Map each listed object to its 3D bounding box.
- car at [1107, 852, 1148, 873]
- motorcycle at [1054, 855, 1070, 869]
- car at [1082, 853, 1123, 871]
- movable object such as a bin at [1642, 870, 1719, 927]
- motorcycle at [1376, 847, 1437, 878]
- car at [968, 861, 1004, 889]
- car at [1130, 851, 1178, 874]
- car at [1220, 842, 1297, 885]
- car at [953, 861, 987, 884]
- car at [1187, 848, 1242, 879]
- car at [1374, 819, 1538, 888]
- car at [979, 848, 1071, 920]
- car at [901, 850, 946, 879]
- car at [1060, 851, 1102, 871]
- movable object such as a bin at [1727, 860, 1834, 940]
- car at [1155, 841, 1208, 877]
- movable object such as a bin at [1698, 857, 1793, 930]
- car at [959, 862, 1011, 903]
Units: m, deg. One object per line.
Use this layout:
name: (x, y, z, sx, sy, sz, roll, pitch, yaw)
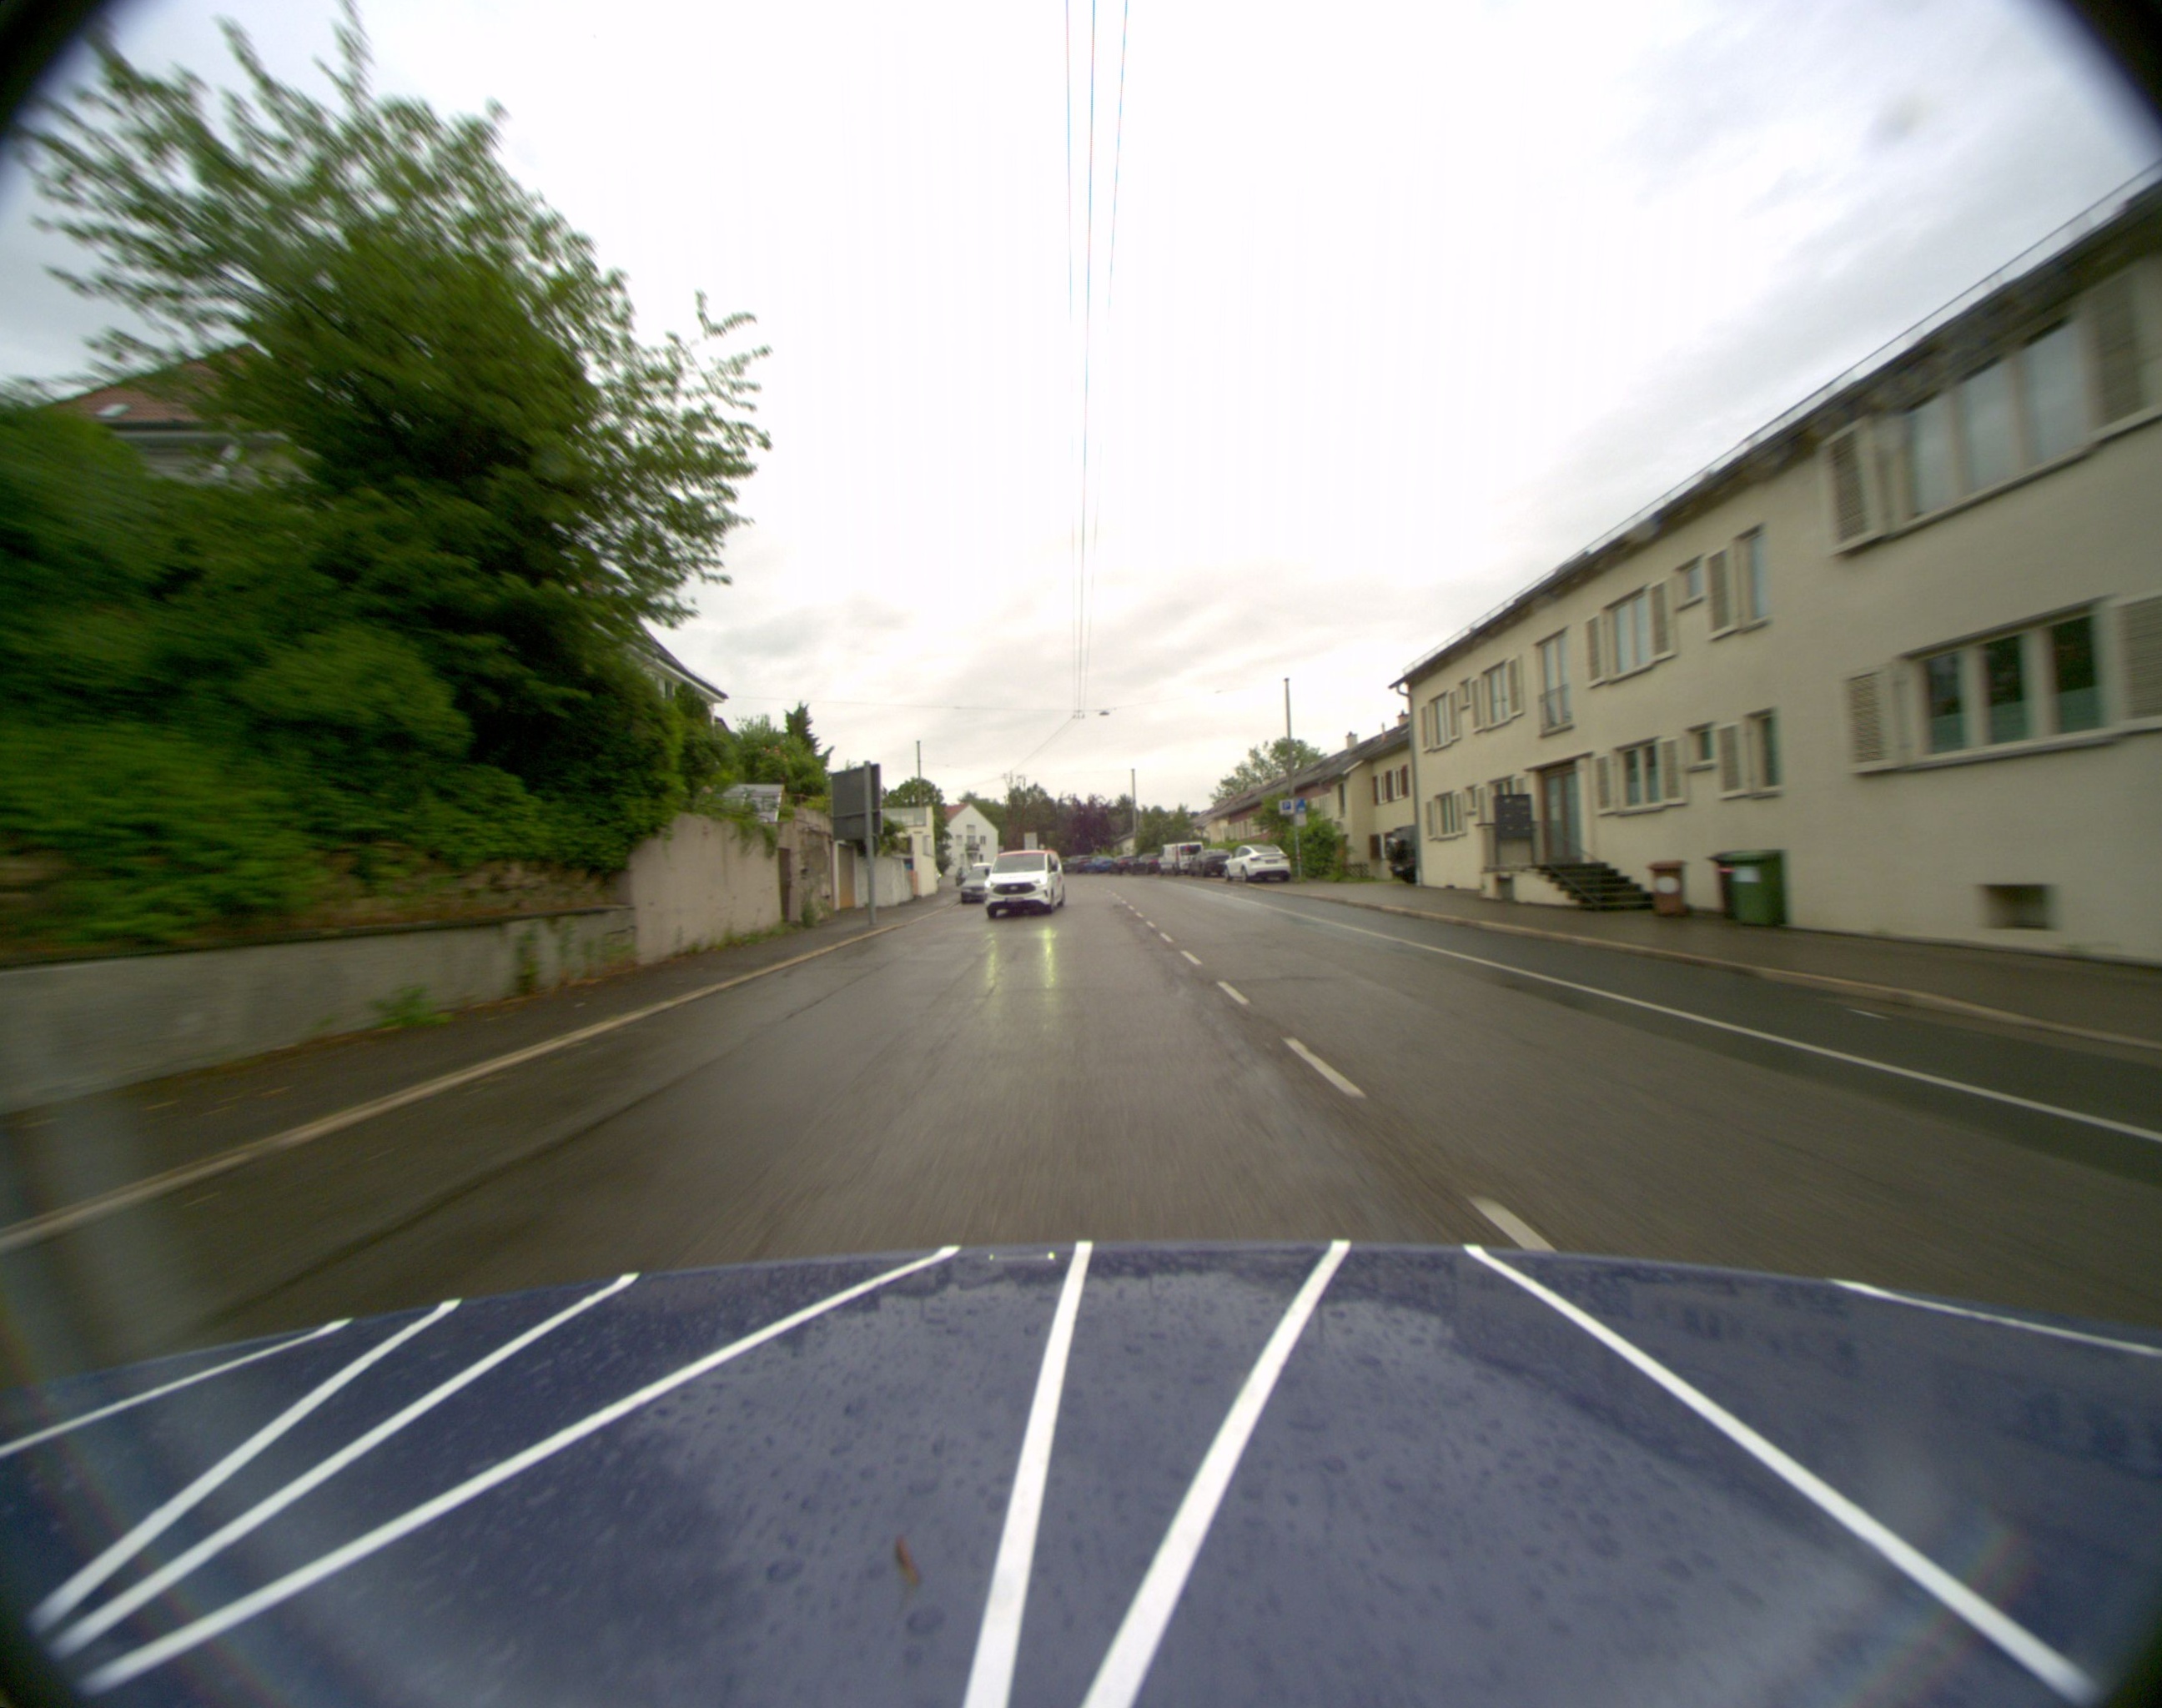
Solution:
car: (3.526, 0.625, 58.772, 1.814, 1.468, 4.517, -4, 1, -14)
motorcycle: (-1.811, 0.780, 72.670, 0.574, 1.264, 1.910, -3, 1, 32)
car: (1.765, 0.694, 63.965, 1.706, 1.396, 4.465, -4, 0, -21)
movable object such as a bin: (9.805, 0.716, 12.449, 0.675, 0.854, 0.708, -3, 1, 0)
motorcycle: (13.426, 0.354, 31.367, 2.098, 1.128, 0.839, -3, 3, 3)
car: (-6.211, 1.302, 49.142, 1.810, 1.639, 4.205, -3, 0, -13)
car: (5.025, 0.574, 53.108, 1.815, 1.468, 4.516, -4, 1, -15)
car: (7.722, 0.374, 33.571, 1.934, 1.621, 4.675, -4, 1, -4)
car: (-8.037, 1.289, 54.703, 1.685, 1.475, 4.195, -4, 1, -18)
car: (7.238, 0.470, 41.632, 1.813, 1.468, 4.520, -4, 1, -5)
car: (12.402, 0.002, 25.305, 4.501, 2.001, 1.887, -3, -1, -3)
car: (-1.641, 0.860, 24.128, 2.041, 1.927, 4.517, -4, 0, 6)
car: (-14.307, 0.919, 68.581, 2.109, 2.527, 5.605, -1, 0, -32)
car: (-0.023, 0.672, 68.479, 1.930, 1.568, 4.379, -4, 1, -26)
movable object such as a bin: (9.787, 0.627, 10.664, 0.783, 1.041, 0.738, -3, 1, 0)
car: (6.236, 0.302, 47.840, 1.854, 2.067, 5.016, -4, 1, -9)
movable object such as a bin: (10.149, 0.589, 11.631, 0.783, 1.041, 0.708, -3, 1, 0)
car: (-4.164, 1.184, 33.517, 1.794, 1.487, 4.704, -3, 1, -2)
